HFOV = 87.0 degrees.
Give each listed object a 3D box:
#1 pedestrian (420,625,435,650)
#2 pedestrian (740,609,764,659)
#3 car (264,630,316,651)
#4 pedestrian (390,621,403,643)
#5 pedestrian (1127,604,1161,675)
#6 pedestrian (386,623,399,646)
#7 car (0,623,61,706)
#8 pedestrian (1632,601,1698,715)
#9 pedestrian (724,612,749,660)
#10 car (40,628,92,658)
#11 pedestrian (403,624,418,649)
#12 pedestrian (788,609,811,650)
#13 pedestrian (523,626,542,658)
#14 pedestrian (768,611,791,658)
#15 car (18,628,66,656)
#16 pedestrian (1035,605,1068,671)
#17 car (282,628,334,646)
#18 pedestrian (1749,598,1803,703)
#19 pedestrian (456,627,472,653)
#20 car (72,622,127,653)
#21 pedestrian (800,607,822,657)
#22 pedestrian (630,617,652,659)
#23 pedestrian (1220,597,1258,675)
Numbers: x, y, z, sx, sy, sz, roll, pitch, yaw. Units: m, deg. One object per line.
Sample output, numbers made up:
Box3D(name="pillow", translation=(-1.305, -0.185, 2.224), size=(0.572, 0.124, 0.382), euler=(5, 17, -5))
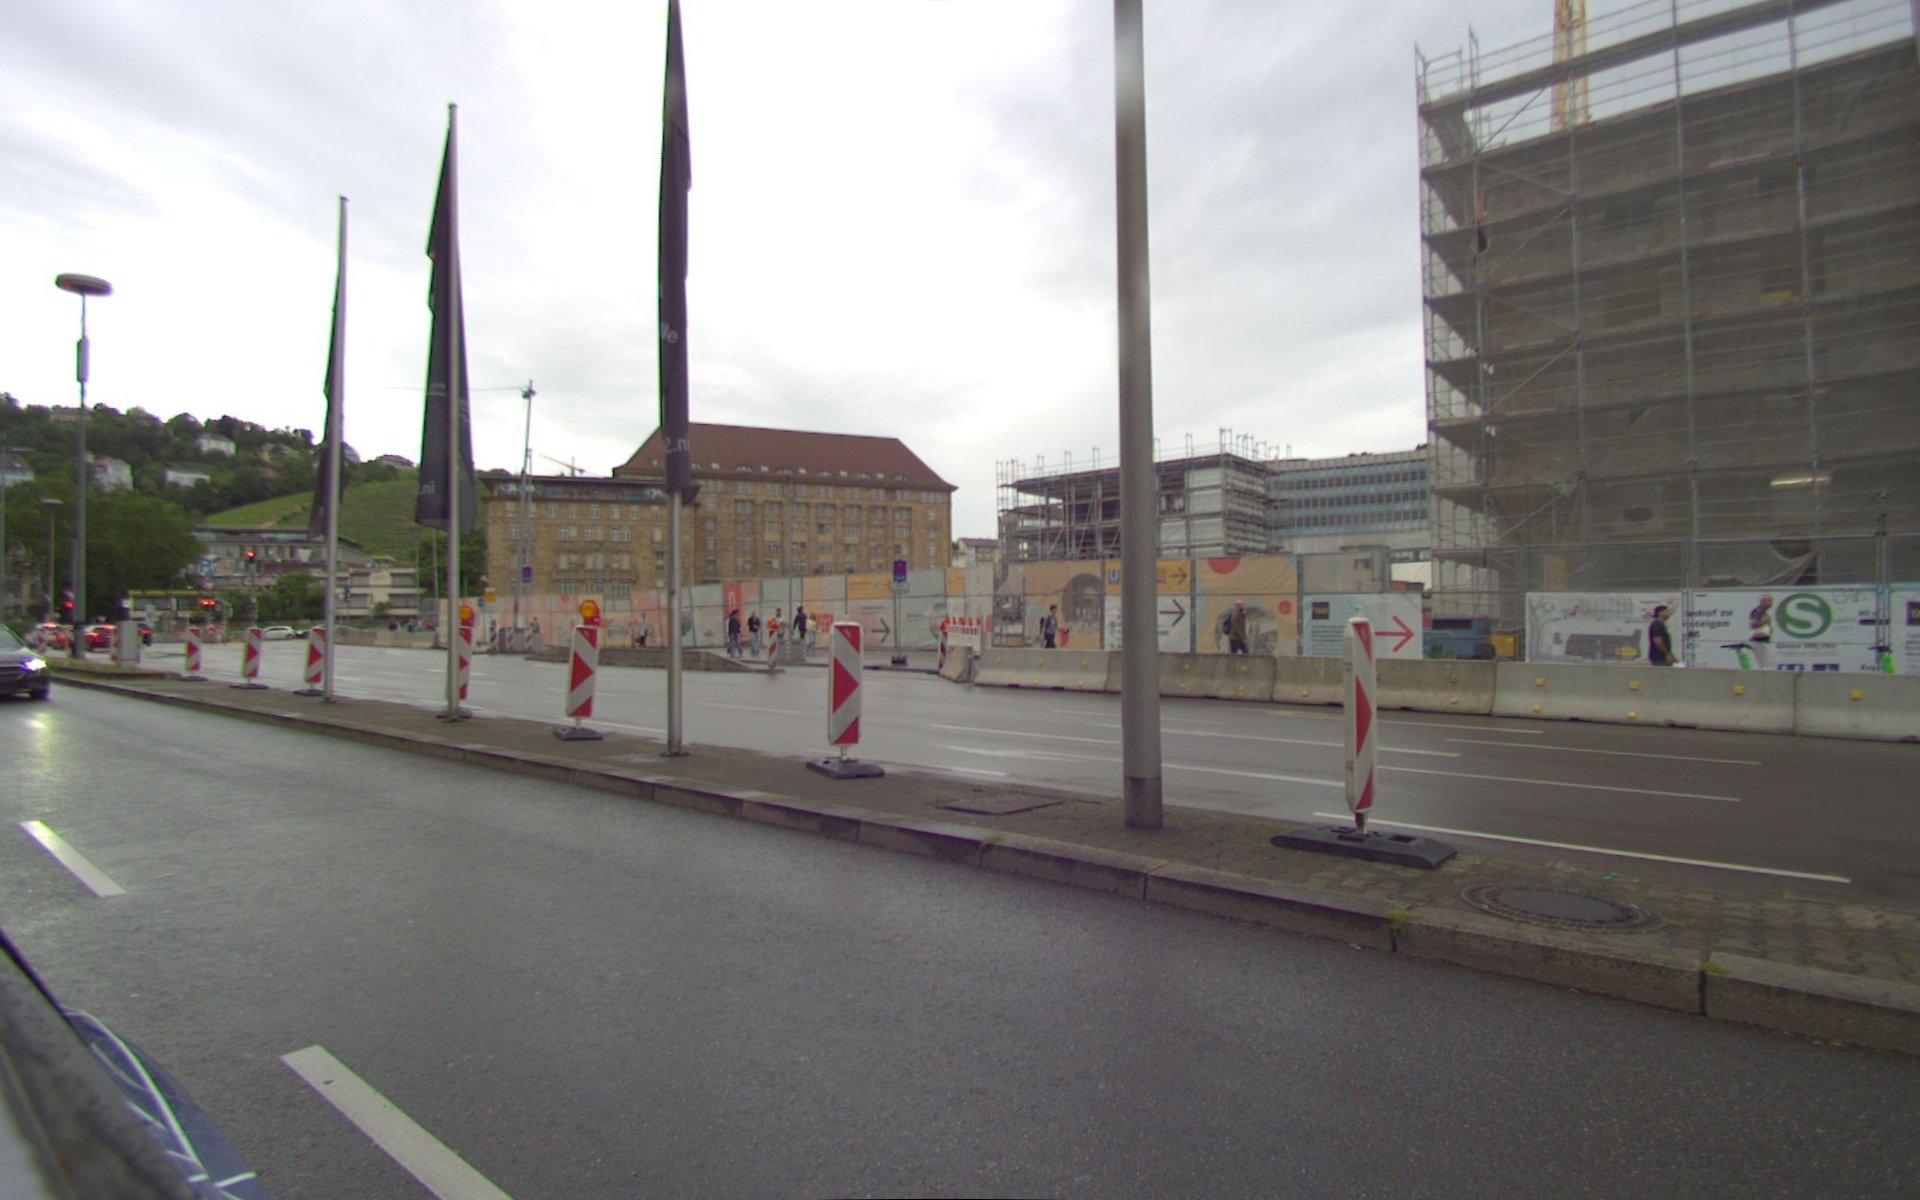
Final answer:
Box3D(name="pedestrian", translation=(-35.416, 2.457, 67.292), size=(0.544, 1.628, 0.706), euler=(-1, 0, 41))
Box3D(name="pedestrian", translation=(-7.938, 1.287, 38.606), size=(0.704, 1.850, 0.719), euler=(-1, 0, -31))
Box3D(name="car", translation=(-68.512, 4.121, 103.546), size=(4.136, 1.871, 1.833), euler=(-1, 0, -44))
Box3D(name="pedestrian", translation=(-43.606, 2.485, 78.280), size=(0.544, 1.628, 0.706), euler=(-1, 0, 41))
Box3D(name="pedestrian", translation=(4.862, 1.033, 26.707), size=(0.717, 1.850, 0.475), euler=(-1, 0, 41))
Box3D(name="pedestrian", translation=(-40.986, 2.515, 73.101), size=(0.544, 1.628, 0.706), euler=(-1, 0, 41))
Box3D(name="car", translation=(-19.449, 1.233, 20.087), size=(4.585, 1.480, 1.836), euler=(-1, 0, 41))
Box3D(name="pedestrian", translation=(11.760, 0.947, 16.884), size=(0.819, 1.850, 0.572), euler=(-1, 0, 41))
Box3D(name="pedestrian", translation=(-8.218, 1.306, 37.180), size=(0.704, 1.746, 0.719), euler=(-1, 0, -31))
Box3D(name="car", translation=(-54.680, 2.597, 61.890), size=(3.913, 1.707, 1.763), euler=(-1, 0, 40))
Box3D(name="pedestrian", translation=(-36.917, 2.455, 67.952), size=(0.544, 1.628, 0.706), euler=(-1, 0, 41))
Box3D(name="pedestrian", translation=(-6.425, 1.172, 40.595), size=(0.544, 1.628, 0.706), euler=(-1, 0, 41))
Box3D(name="pedestrian", translation=(-22.551, 2.206, 53.400), size=(0.544, 1.628, 0.706), euler=(-1, 0, 41))
Box3D(name="pedestrian", translation=(-6.815, 1.286, 38.168), size=(0.704, 1.757, 0.565), euler=(-1, 0, -29))
Box3D(name="car", translation=(-59.795, 2.685, 65.914), size=(3.913, 1.707, 1.763), euler=(-1, 0, 40))
Box3D(name="pedestrian", translation=(2.633, 1.071, 29.021), size=(0.717, 1.850, 0.579), euler=(-1, 0, 41))
Box3D(name="car", translation=(-59.455, 3.362, 92.313), size=(3.934, 1.644, 2.005), euler=(0, -2, -36))
Box3D(name="pedestrian", translation=(14.768, 0.895, 18.309), size=(0.717, 1.850, 0.475), euler=(-1, 0, 41))
Box3D(name="pedestrian", translation=(-31.205, 2.525, 63.675), size=(0.544, 1.628, 0.706), euler=(-1, 0, 41))
Box3D(name="car", translation=(-48.526, 2.100, 57.035), size=(3.914, 1.707, 1.762), euler=(-2, -2, 41))
Box3D(name="pedestrian", translation=(-5.645, 1.205, 38.232), size=(0.651, 1.850, 0.557), euler=(-1, 0, -29))
Box3D(name="pedestrian", translation=(-14.376, 1.701, 45.666), size=(0.720, 1.850, 0.656), euler=(-1, 0, 41))
Box3D(name="pedestrian", translation=(6.725, 0.852, 24.370), size=(0.717, 1.850, 0.475), euler=(-1, 0, 41))
